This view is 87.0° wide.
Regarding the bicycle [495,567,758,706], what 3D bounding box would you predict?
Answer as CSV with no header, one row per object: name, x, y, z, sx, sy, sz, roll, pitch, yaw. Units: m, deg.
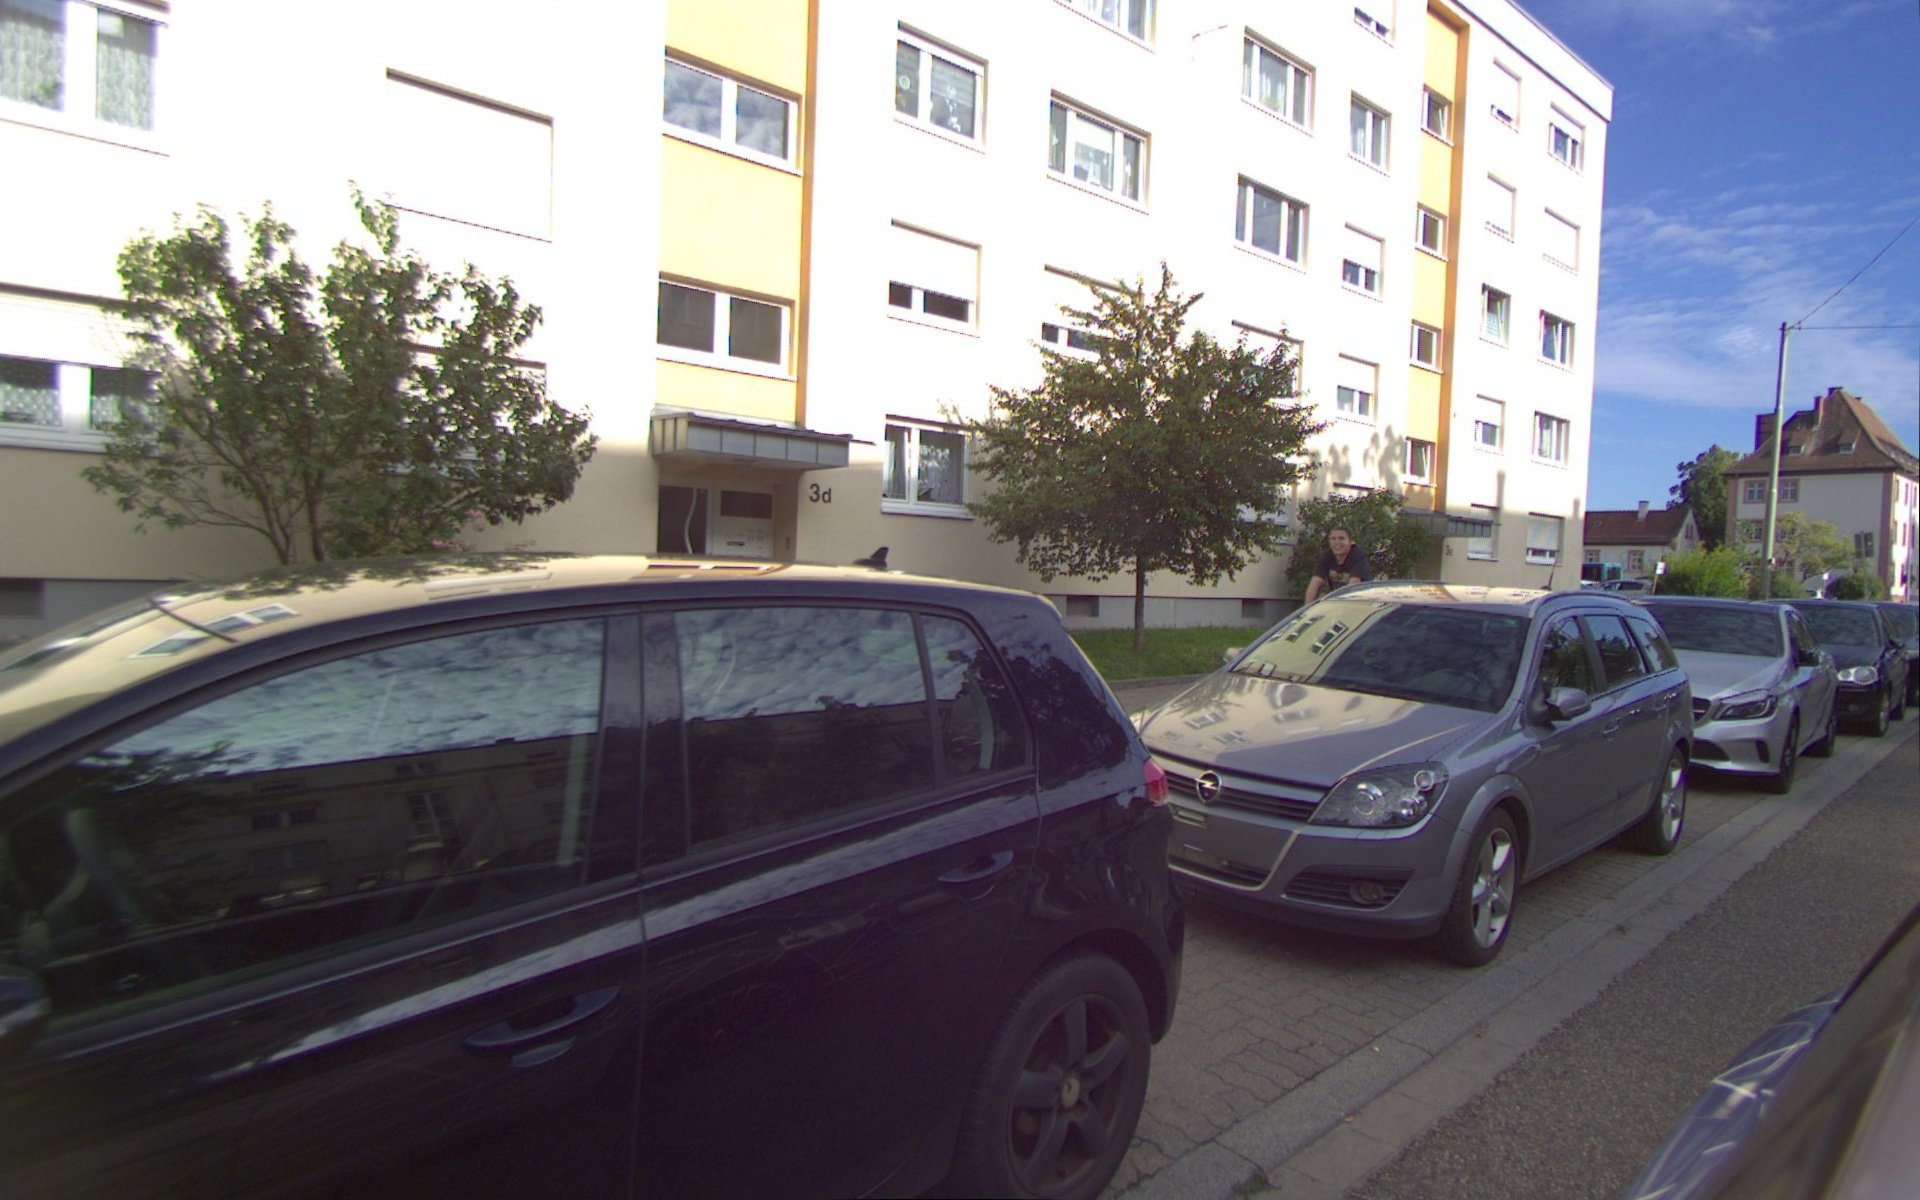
bicycle,-2.846,0.280,8.810,2.082,1.042,0.595,0,5,-42

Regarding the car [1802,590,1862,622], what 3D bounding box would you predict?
car,50.454,0.350,58.516,4.016,1.740,1.889,1,2,-39

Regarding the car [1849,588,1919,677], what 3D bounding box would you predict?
car,18.078,0.594,19.041,4.137,1.485,1.685,0,3,-45

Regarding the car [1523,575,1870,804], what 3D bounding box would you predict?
car,6.623,0.605,8.917,4.110,1.481,1.702,0,3,-44

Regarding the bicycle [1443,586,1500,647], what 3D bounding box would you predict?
bicycle,10.476,0.320,20.693,1.564,1.150,0.446,-2,5,-42

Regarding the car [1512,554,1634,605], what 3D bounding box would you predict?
car,28.880,-0.984,47.763,2.321,2.219,4.285,1,2,-33

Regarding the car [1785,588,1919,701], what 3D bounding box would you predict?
car,14.276,0.626,15.548,4.131,1.453,1.688,1,3,-40

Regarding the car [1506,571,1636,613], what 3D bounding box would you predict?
car,24.753,-0.358,41.144,1.833,1.500,4.095,1,2,-32

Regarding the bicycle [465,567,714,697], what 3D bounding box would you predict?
bicycle,-3.310,0.261,9.194,2.059,1.042,0.502,0,5,-42

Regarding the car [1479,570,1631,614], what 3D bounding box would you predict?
car,22.852,-0.332,39.055,1.835,1.500,4.682,1,2,-36

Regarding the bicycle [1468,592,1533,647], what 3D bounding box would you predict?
bicycle,10.841,0.366,20.270,1.663,1.010,0.597,-2,3,-42

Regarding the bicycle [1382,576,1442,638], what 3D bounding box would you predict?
bicycle,9.703,0.130,21.707,1.564,1.230,0.522,-2,5,-42

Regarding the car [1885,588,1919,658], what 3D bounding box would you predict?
car,23.355,0.565,23.750,4.252,1.542,1.768,0,4,-40

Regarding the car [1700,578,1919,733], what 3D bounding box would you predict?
car,10.582,0.575,12.384,3.808,1.519,1.686,1,3,-43

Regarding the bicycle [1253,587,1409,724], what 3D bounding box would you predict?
bicycle,3.509,0.475,9.483,1.896,1.149,0.524,1,2,-42

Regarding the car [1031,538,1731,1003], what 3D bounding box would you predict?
car,2.466,0.522,5.309,4.219,1.504,1.687,0,2,-42

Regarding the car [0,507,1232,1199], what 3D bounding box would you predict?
car,-1.313,0.610,1.878,3.875,1.509,1.664,0,3,-43

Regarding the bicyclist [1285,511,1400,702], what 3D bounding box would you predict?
bicyclist,3.596,0.050,9.517,0.877,1.698,0.624,1,2,-42

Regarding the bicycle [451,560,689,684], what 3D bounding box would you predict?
bicycle,-3.643,0.187,9.592,2.033,1.042,0.502,0,5,-42

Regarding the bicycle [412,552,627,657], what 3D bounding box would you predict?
bicycle,-4.815,0.040,11.185,2.097,1.042,0.503,0,5,-41

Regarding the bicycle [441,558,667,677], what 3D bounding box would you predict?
bicycle,-3.960,0.152,9.997,1.991,1.042,0.502,0,5,-42

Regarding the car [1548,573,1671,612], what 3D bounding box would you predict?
car,28.099,-0.348,43.898,1.833,1.500,4.095,1,2,-32
